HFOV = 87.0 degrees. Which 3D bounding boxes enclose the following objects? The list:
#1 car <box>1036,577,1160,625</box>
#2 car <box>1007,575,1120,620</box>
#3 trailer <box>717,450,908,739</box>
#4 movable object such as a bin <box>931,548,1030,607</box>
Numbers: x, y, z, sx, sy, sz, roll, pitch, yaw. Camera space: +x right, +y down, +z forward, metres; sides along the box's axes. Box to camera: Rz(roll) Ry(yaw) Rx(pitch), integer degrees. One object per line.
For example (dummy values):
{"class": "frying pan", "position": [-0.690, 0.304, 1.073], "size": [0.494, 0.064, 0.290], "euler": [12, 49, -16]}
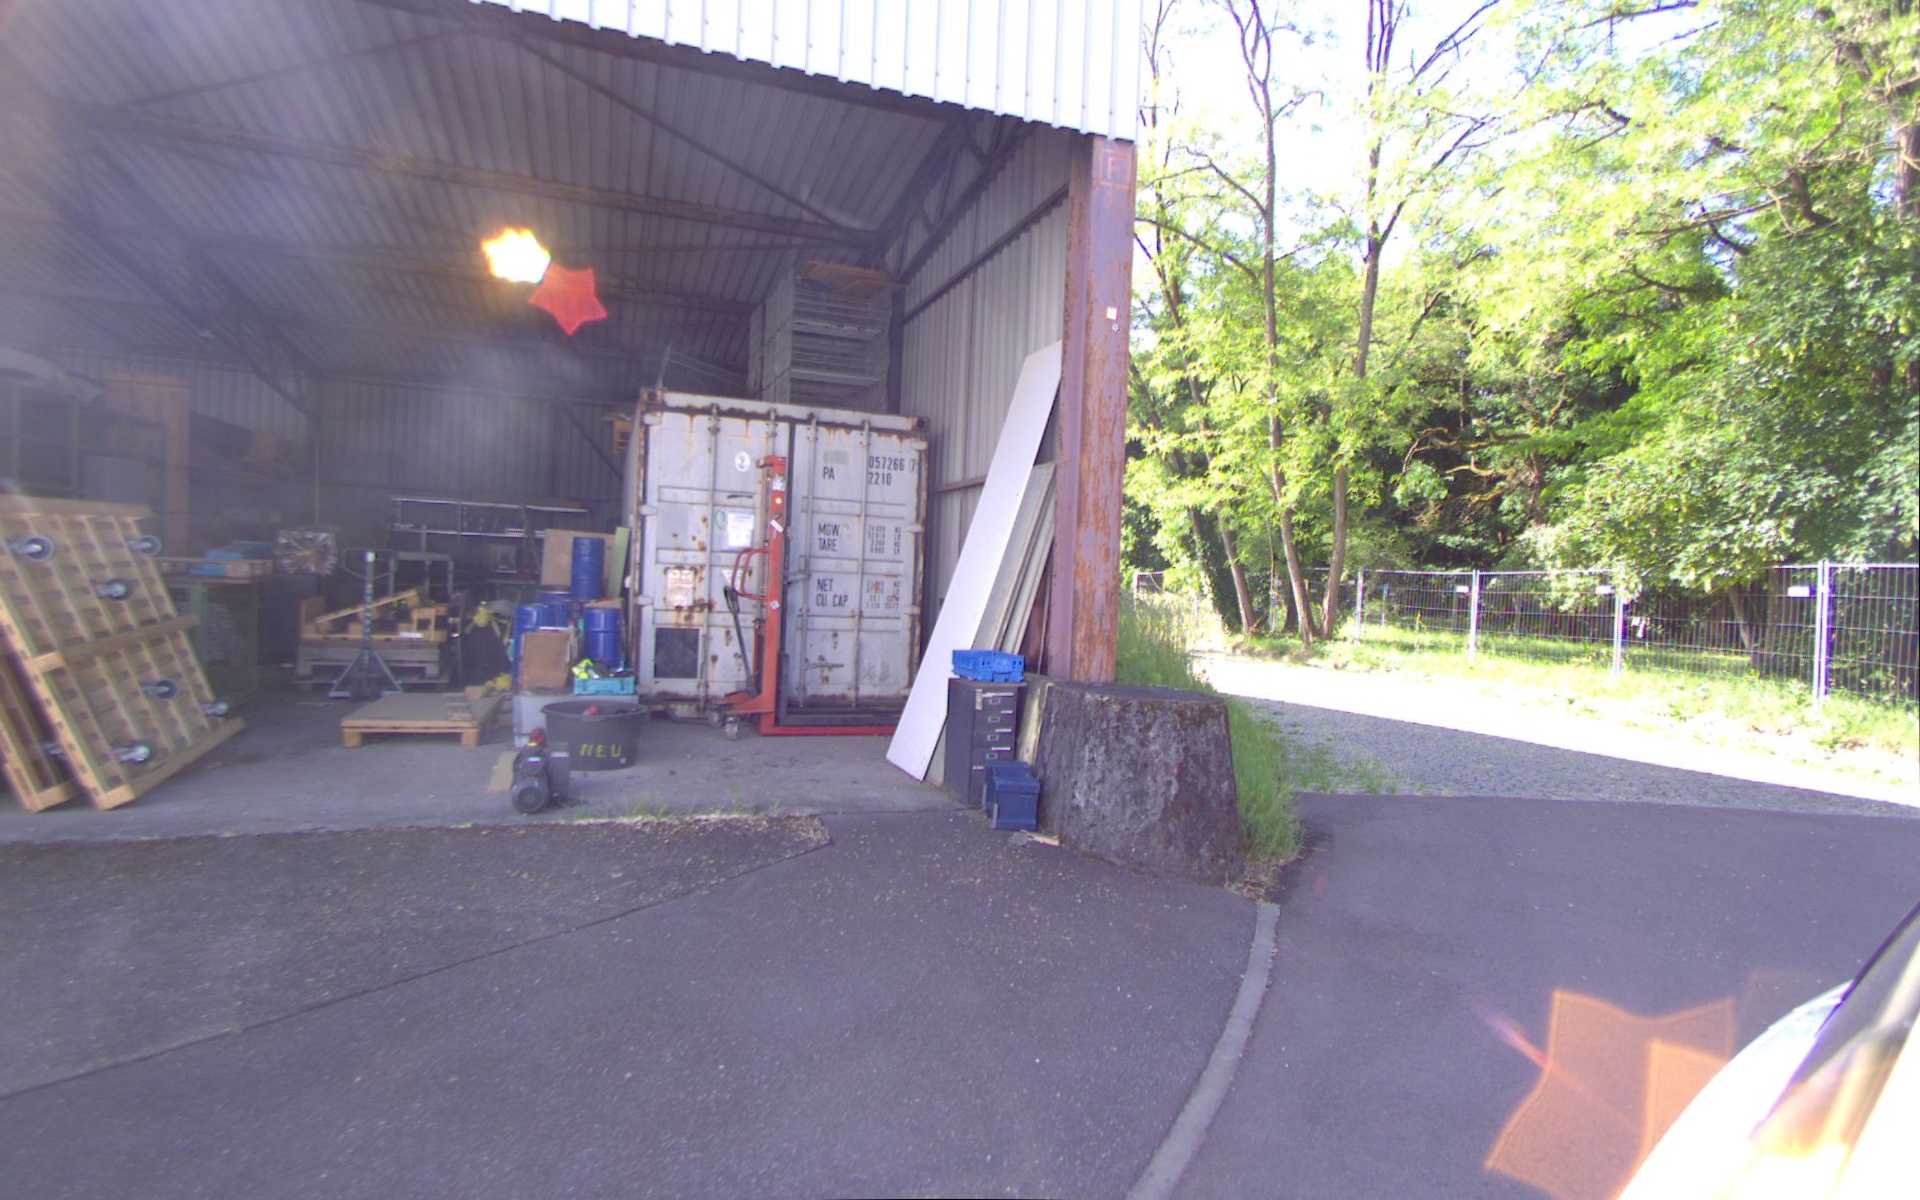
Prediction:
{"class": "car", "position": [5.100, 0.009, 37.449], "size": [4.211, 1.672, 1.797], "euler": [-1, 2, -24]}
{"class": "car", "position": [4.130, -0.123, 40.414], "size": [4.102, 1.676, 1.822], "euler": [0, 2, -20]}
{"class": "trailer", "position": [-1.146, -0.013, 7.872], "size": [1.257, 2.094, 0.582], "euler": [4, -2, -23]}
{"class": "movable object such as a bin", "position": [1.121, -1.227, 56.047], "size": [5.056, 3.003, 2.005], "euler": [2, 1, -15]}
